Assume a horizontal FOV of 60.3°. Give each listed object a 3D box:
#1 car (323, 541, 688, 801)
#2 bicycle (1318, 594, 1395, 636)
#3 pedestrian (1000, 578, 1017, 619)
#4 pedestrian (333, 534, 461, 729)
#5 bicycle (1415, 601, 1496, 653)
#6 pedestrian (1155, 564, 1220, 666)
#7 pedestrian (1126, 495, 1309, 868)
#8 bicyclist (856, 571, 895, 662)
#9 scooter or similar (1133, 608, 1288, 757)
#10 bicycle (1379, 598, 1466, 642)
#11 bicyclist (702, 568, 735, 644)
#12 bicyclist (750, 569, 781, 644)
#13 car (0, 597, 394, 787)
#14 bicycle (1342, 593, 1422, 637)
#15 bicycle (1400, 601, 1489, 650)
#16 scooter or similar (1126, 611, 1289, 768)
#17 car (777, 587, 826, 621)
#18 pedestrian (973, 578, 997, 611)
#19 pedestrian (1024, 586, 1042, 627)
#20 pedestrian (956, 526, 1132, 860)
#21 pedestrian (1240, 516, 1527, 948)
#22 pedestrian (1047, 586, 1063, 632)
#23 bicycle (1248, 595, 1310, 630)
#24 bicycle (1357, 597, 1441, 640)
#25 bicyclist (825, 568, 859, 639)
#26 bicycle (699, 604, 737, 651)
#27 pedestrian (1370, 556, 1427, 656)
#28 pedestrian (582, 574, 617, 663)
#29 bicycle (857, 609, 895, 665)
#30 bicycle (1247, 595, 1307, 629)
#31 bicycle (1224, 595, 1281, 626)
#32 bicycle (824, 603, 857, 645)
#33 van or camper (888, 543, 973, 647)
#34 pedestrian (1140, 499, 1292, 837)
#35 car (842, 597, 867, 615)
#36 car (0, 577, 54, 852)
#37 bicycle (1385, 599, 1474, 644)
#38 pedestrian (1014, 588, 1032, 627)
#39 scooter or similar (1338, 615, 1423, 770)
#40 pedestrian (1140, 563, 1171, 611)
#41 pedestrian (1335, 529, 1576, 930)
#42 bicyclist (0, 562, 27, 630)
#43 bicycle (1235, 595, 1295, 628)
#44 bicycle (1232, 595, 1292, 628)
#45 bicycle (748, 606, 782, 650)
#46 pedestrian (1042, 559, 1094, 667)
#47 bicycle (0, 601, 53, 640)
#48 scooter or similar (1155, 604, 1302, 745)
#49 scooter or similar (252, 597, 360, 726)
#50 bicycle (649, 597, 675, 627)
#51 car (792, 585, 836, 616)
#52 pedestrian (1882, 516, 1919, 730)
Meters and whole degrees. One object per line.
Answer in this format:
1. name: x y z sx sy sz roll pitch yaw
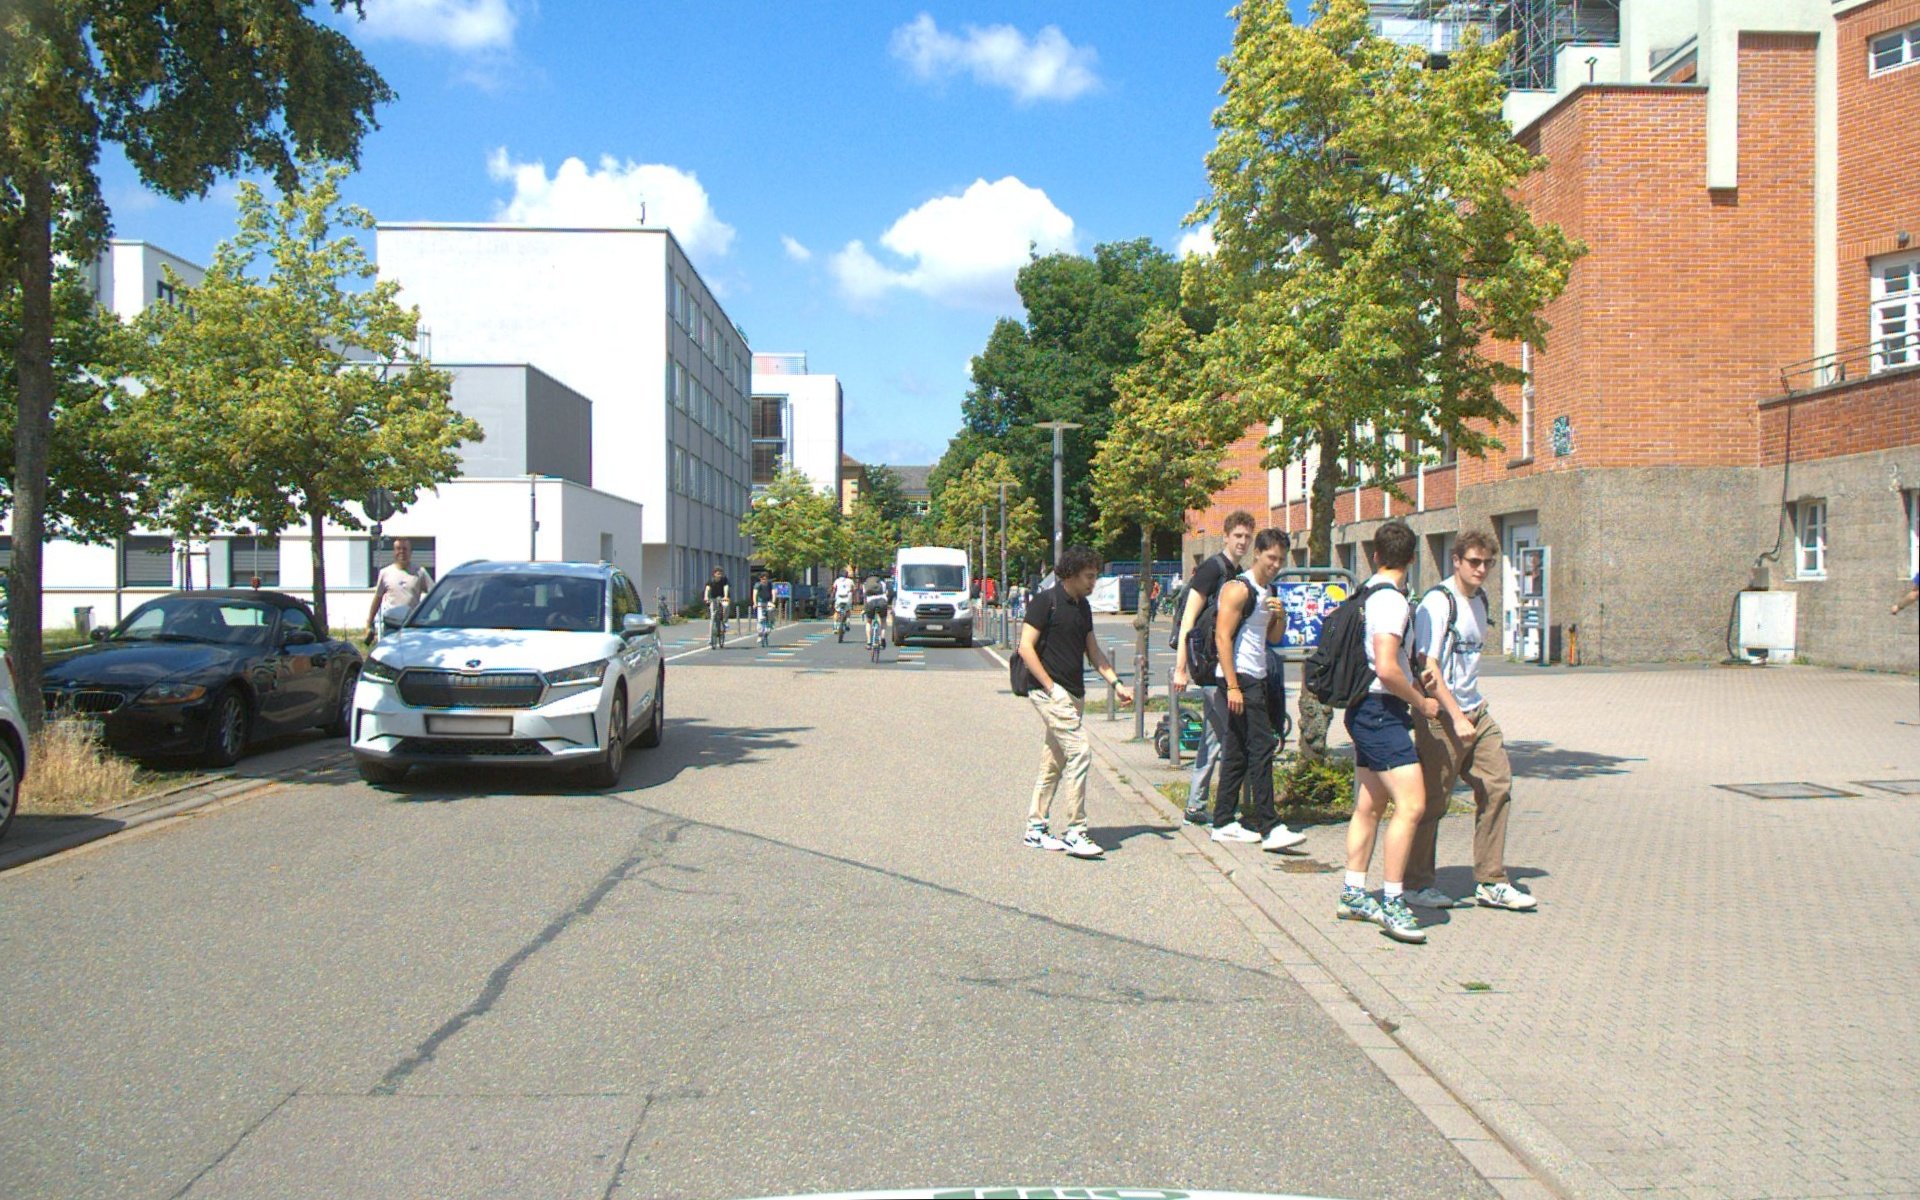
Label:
1. car: -3.392 0.497 13.288 1.880 1.647 4.516 3 -1 -4
2. bicycle: 10.058 0.374 41.979 1.773 1.002 0.560 -2 0 -2
3. pedestrian: 2.259 -0.087 77.313 0.774 1.892 1.243 0 0 0
4. pedestrian: -5.865 0.319 17.213 1.005 1.937 1.166 1 -1 -32
5. bicycle: 10.204 0.551 34.087 1.504 1.051 0.560 -1 0 -2
6. pedestrian: 4.038 0.254 29.415 0.837 1.763 1.158 0 0 -9
7. pedestrian: 1.462 0.445 9.456 0.610 2.015 0.819 0 -1 -33
8. bicyclist: -1.630 0.319 31.660 0.703 1.691 1.094 1 -1 -4
9. scooter or similar: 2.270 0.721 14.981 1.237 1.287 0.649 0 0 31
10. bicycle: 10.301 0.450 36.849 1.773 0.928 0.560 -1 0 -2
11. bicyclist: -5.344 0.129 36.647 0.630 1.629 0.908 -1 0 -4
12. bicyclist: -4.529 0.141 38.558 0.654 1.711 0.991 -1 0 -5
13. car: -6.203 0.652 13.811 1.611 1.323 3.927 0 0 -1
14. bicycle: 10.209 0.365 40.024 1.773 1.002 0.560 -2 0 -2
15. bicycle: 10.362 0.541 35.399 1.748 0.995 0.559 -1 0 -3
16. scooter or similar: 2.123 0.740 14.203 1.237 1.287 0.649 0 0 31
17. car: -7.547 0.185 78.962 1.758 1.557 4.001 0 0 2
18. pedestrian: 1.651 -0.375 108.906 1.468 2.031 1.647 -3 1 3
19. pedestrian: 3.394 0.310 77.103 0.774 1.892 1.025 0 0 0
20. pedestrian: 0.496 0.498 9.464 0.784 1.803 0.855 0 1 19
21. pedestrian: 1.880 0.555 7.362 0.965 1.769 0.697 -3 -1 39
22. pedestrian: 3.900 0.366 67.985 0.564 1.892 0.569 0 0 -4
23. bicycle: 9.849 0.381 51.080 1.773 1.002 0.560 -2 0 -2
24. bicycle: 10.141 0.422 38.257 1.773 0.928 0.560 -2 0 -2
25. bicyclist: -3.098 0.089 43.453 0.755 1.786 0.848 3 0 -3
26. bicycle: -5.341 0.588 36.582 0.663 0.981 2.001 1 0 -4
27. pedestrian: 8.443 0.105 31.894 0.774 1.892 1.116 0 0 -1
28. pedestrian: -7.451 0.385 34.193 0.655 1.816 0.981 1 -1 -14
29. bicycle: -1.627 0.700 31.905 0.692 1.010 1.909 0 0 -4
30. bicycle: 9.946 0.383 51.915 1.773 1.002 0.560 -2 0 -2
31. bicycle: 9.701 0.345 54.896 1.773 1.002 0.560 -2 0 -2
32. bicycle: -3.134 0.618 43.536 0.792 1.019 2.122 3 0 -3
33. van or camper: -0.702 -0.093 42.206 1.952 2.488 4.570 -1 -1 1
34. pedestrian: 1.608 0.404 10.322 0.809 2.015 0.692 0 1 19
35. car: -9.210 0.521 144.873 1.758 1.557 4.001 0 0 2
36. car: -5.770 0.593 7.198 1.629 1.436 3.806 1 0 -2
37. bicycle: 10.246 0.458 36.089 1.773 0.928 0.560 -1 0 -2
38. pedestrian: 3.061 0.346 80.382 0.774 1.892 1.025 0 0 0
39. scooter or similar: 3.414 0.722 13.464 0.635 1.180 1.266 0 0 14
40. pedestrian: 7.801 -0.528 66.006 0.836 1.892 1.114 0 0 31
41. pedestrian: 2.350 0.565 7.839 0.891 1.769 0.676 -1 1 37
42. bicyclist: -25.439 -0.102 44.039 0.676 1.787 0.811 1 -1 3
43. bicycle: 9.699 0.369 52.610 1.773 1.002 0.560 -2 0 -2
44. bicycle: 9.703 0.367 53.174 1.773 1.002 0.560 -2 0 -2
45. bicycle: -4.534 0.641 38.545 0.663 0.981 2.001 1 0 -4
46. pedestrian: 1.786 0.234 27.552 0.688 1.724 0.961 -3 -2 -1
47. bicycle: -25.395 0.541 44.010 2.072 1.020 0.811 1 -1 3
48. scooter or similar: 2.566 0.692 15.804 1.237 1.287 0.638 0 0 31
49. scooter or similar: -7.069 0.645 17.932 0.493 1.322 1.217 -1 1 10
50. bicycle: -10.227 0.395 56.795 0.512 1.002 1.633 -2 0 3
51. car: -7.601 0.020 86.375 1.758 1.557 4.001 0 0 2
52. pedestrian: 8.963 0.196 14.853 0.688 1.924 0.992 -3 1 -9
